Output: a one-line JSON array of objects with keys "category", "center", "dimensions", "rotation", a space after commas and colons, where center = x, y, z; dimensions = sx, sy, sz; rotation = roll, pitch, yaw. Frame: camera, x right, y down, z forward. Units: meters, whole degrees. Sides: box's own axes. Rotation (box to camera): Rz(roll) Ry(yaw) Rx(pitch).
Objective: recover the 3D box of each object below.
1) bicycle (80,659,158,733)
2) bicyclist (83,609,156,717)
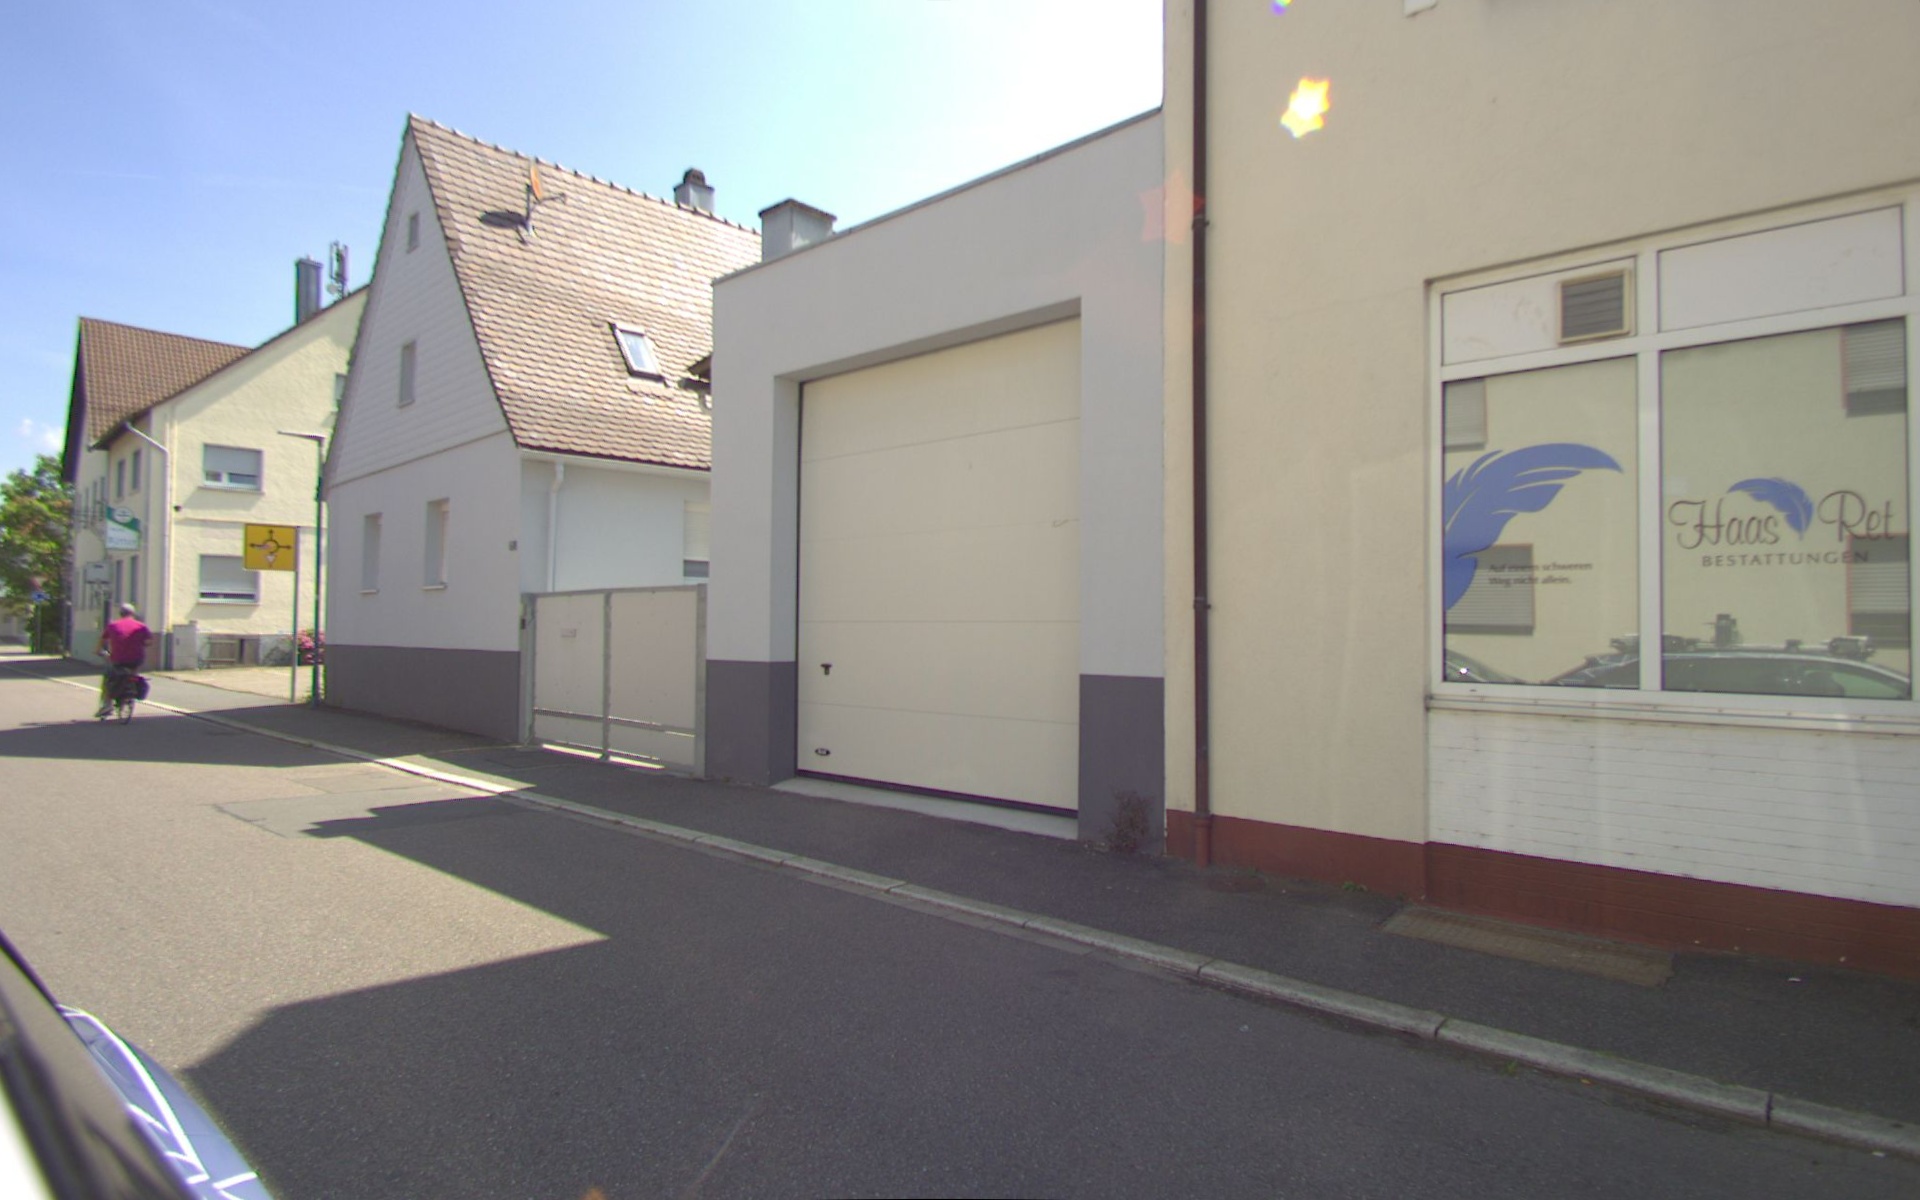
[{"category": "bicycle", "center": [-13.378, 1.489, 16.081], "dimensions": [0.734, 1.055, 1.941], "rotation": [4, -4, -45]}, {"category": "bicyclist", "center": [-13.328, 0.987, 16.050], "dimensions": [0.957, 1.649, 0.738], "rotation": [-2, -4, 45]}]
